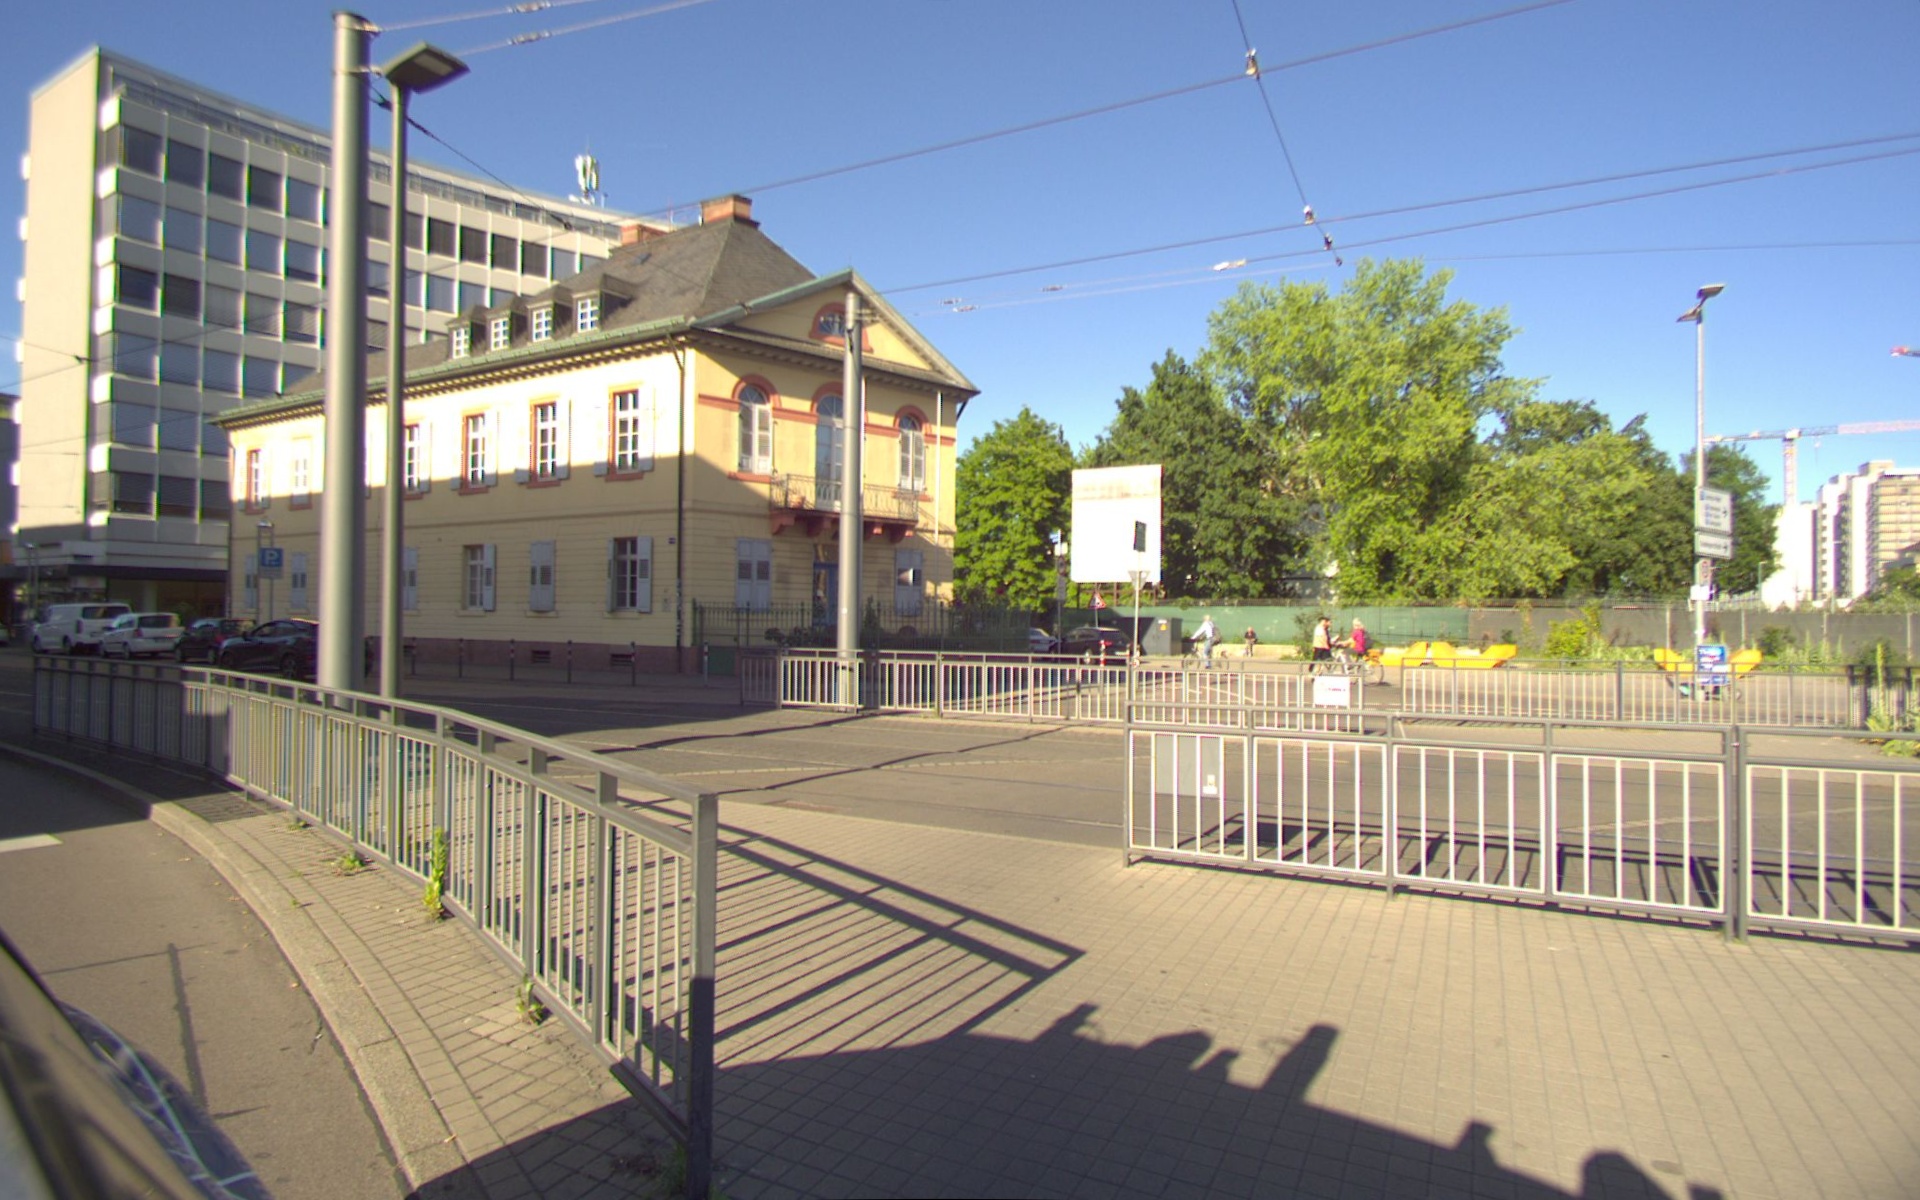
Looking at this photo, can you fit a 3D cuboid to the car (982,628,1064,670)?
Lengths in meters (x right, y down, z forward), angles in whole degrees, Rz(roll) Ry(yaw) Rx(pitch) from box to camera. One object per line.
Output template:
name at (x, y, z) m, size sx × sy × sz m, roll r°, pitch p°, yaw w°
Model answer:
car at (2.676, 2.058, 43.592) m, size 1.861 × 1.683 × 3.876 m, roll 1°, pitch -1°, yaw -25°

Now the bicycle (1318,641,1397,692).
bicycle at (10.310, 1.711, 26.317) m, size 0.523 × 1.223 × 1.888 m, roll 1°, pitch -1°, yaw -40°

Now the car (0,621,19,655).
car at (-45.194, 1.723, 46.284) m, size 4.273 × 1.463 × 1.914 m, roll 0°, pitch 0°, yaw 28°

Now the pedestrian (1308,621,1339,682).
pedestrian at (11.157, 1.558, 31.069) m, size 0.705 × 1.831 × 0.587 m, roll 0°, pitch -1°, yaw 44°

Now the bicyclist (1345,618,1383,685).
bicyclist at (10.438, 1.318, 26.170) m, size 0.514 × 1.686 × 0.772 m, roll 1°, pitch -1°, yaw -38°

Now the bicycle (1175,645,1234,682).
bicycle at (7.372, 1.909, 30.530) m, size 0.522 × 1.021 × 1.890 m, roll 1°, pitch -1°, yaw -33°

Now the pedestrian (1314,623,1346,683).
pedestrian at (11.619, 1.650, 31.804) m, size 0.740 × 1.865 × 0.697 m, roll 0°, pitch -1°, yaw 44°

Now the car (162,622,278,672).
car at (-24.175, 1.500, 33.037) m, size 3.948 × 1.450 × 1.763 m, roll 0°, pitch 0°, yaw 32°

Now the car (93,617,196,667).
car at (-29.117, 1.444, 36.111) m, size 4.165 × 1.633 × 1.762 m, roll 0°, pitch 0°, yaw 34°

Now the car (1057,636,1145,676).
car at (5.313, 2.088, 38.673) m, size 1.622 × 1.357 × 3.772 m, roll 1°, pitch -1°, yaw -23°

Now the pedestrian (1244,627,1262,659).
pedestrian at (13.394, 1.955, 46.247) m, size 0.683 × 1.462 × 0.740 m, roll 0°, pitch -1°, yaw 28°

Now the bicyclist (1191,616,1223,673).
bicyclist at (7.436, 1.314, 30.463) m, size 0.513 × 1.686 × 0.772 m, roll 1°, pitch -1°, yaw -33°

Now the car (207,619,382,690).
car at (-16.212, 1.270, 24.634) m, size 4.099 × 1.572 × 1.676 m, roll 0°, pitch -1°, yaw 25°

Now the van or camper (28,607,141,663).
van or camper at (-33.911, 1.296, 39.181) m, size 4.779 × 1.988 × 1.940 m, roll 0°, pitch 0°, yaw 31°
